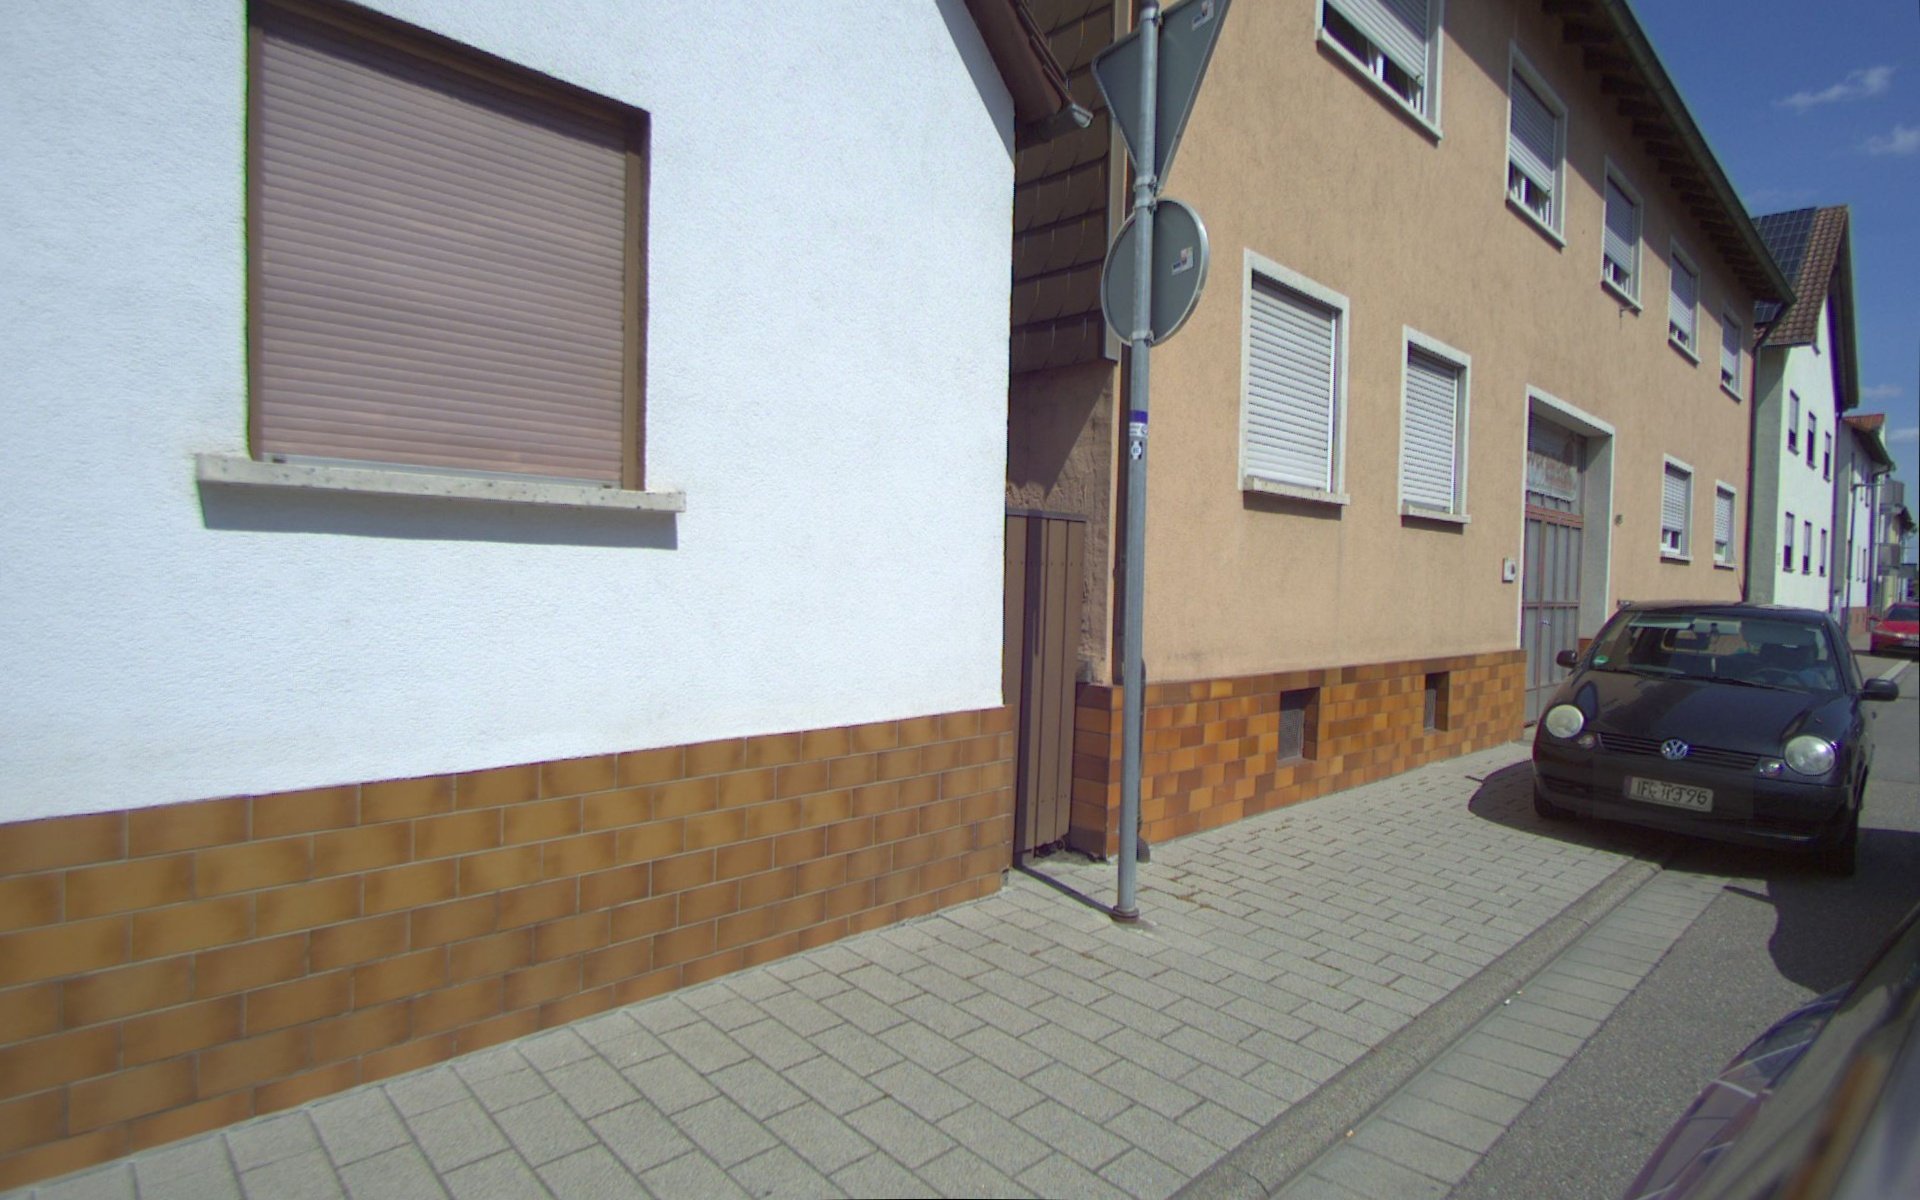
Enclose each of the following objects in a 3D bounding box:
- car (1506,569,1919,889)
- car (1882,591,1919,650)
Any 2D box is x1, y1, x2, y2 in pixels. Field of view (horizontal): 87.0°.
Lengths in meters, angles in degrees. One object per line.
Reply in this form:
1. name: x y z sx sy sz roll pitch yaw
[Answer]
1. car: 5.206 0.618 6.797 3.570 1.481 1.688 0 4 -45
2. car: 25.577 0.548 26.591 4.121 1.446 1.761 0 2 -45
